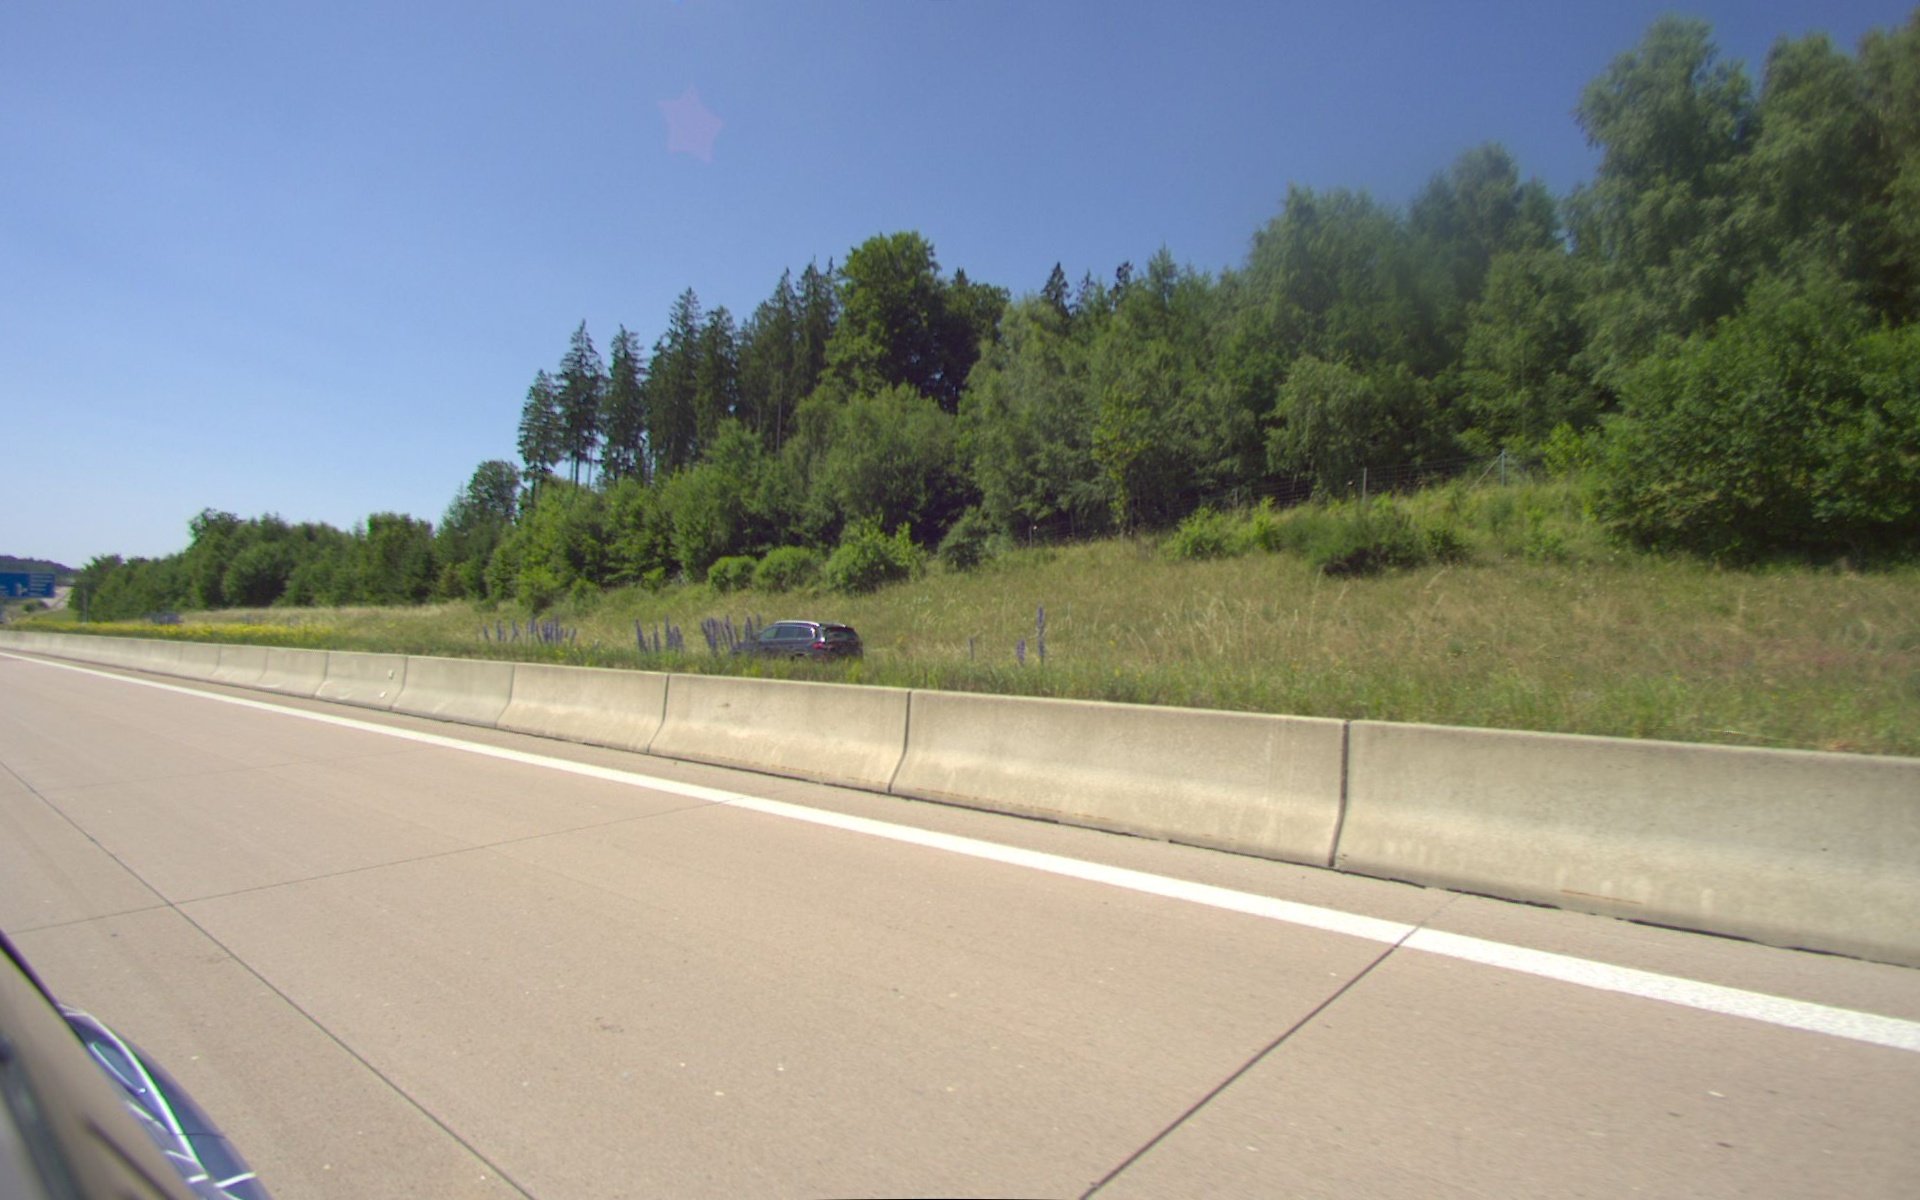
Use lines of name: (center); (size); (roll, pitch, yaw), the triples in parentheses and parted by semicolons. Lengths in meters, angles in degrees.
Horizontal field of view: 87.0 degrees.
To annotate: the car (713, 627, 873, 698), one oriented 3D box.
car: (-4.625, 1.642, 27.691); (4.459, 1.752, 1.872); (-1, -1, 39)
